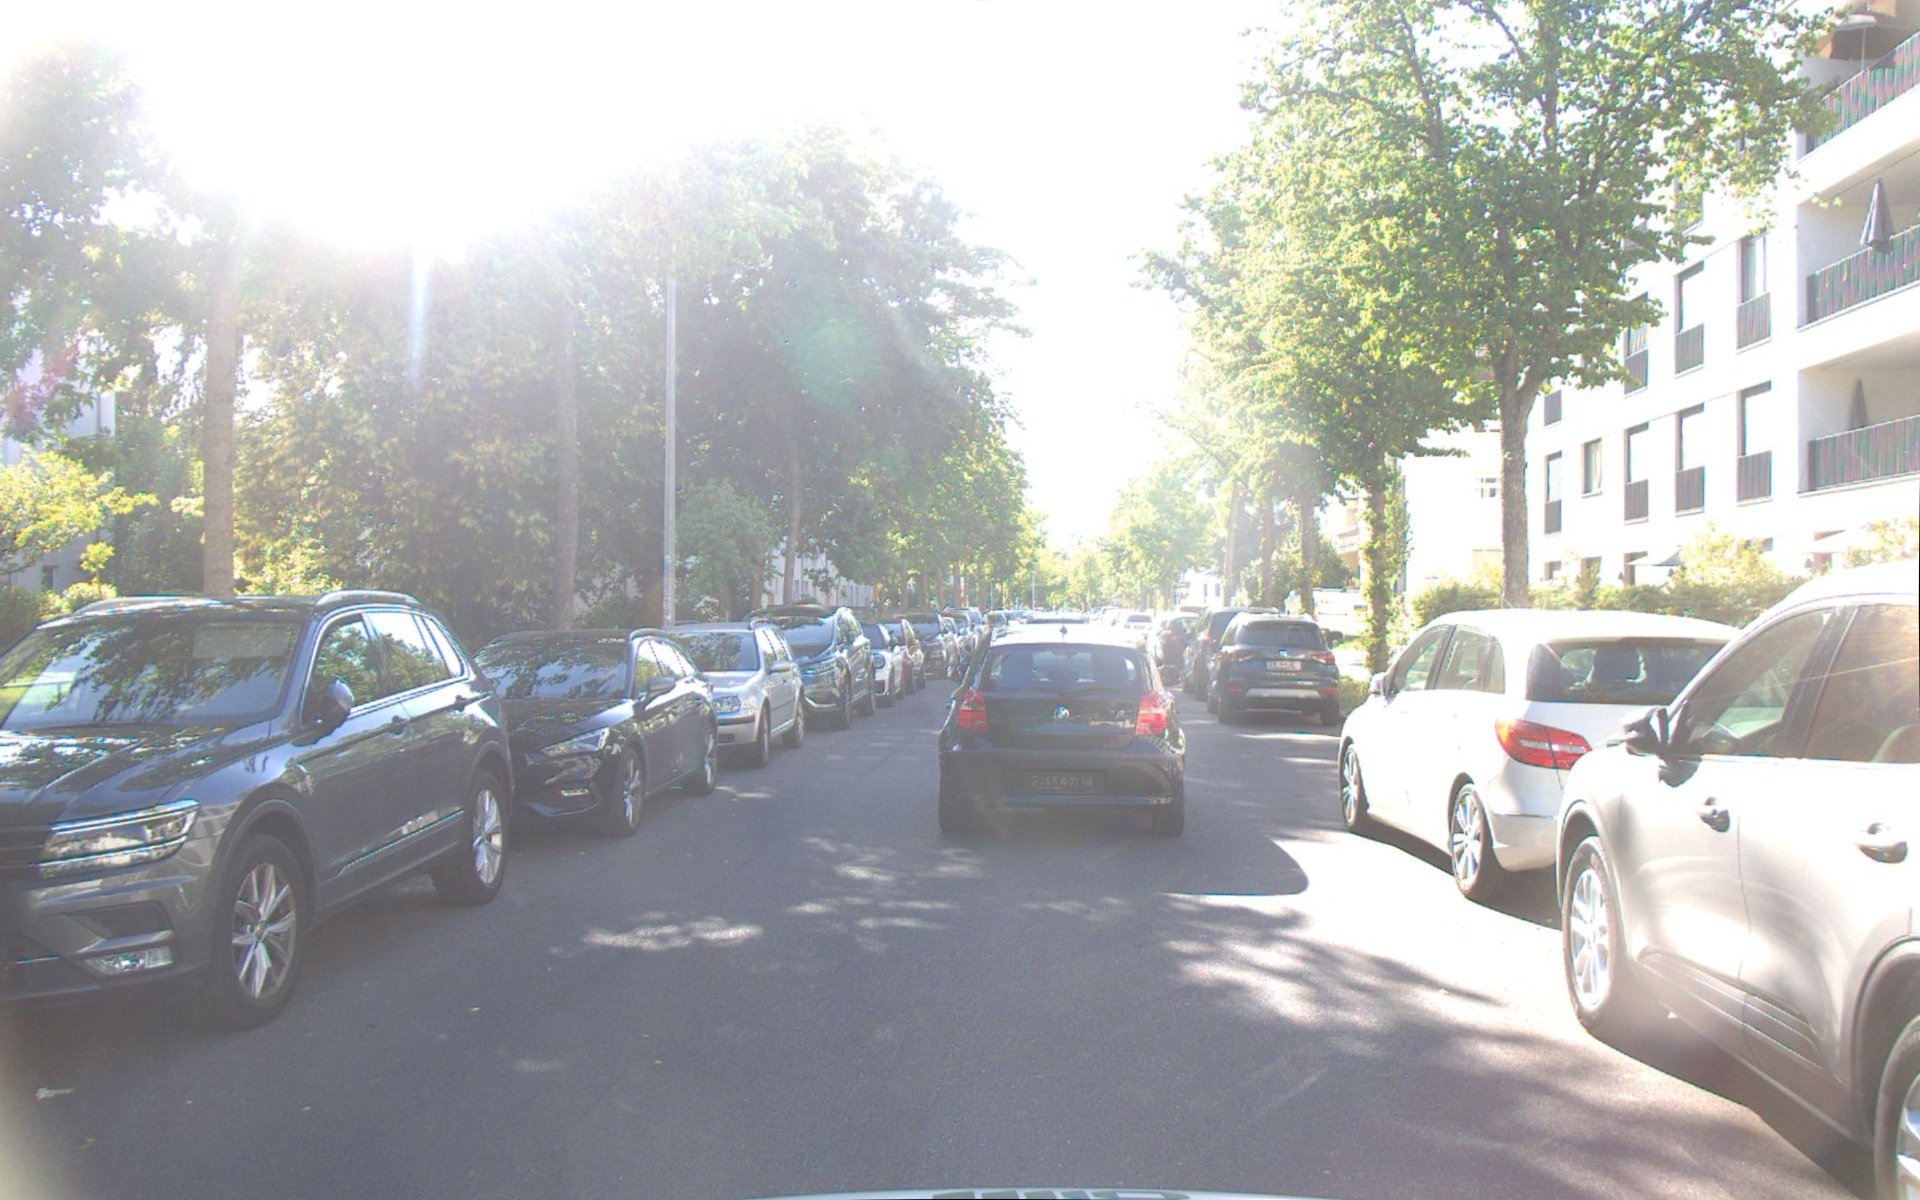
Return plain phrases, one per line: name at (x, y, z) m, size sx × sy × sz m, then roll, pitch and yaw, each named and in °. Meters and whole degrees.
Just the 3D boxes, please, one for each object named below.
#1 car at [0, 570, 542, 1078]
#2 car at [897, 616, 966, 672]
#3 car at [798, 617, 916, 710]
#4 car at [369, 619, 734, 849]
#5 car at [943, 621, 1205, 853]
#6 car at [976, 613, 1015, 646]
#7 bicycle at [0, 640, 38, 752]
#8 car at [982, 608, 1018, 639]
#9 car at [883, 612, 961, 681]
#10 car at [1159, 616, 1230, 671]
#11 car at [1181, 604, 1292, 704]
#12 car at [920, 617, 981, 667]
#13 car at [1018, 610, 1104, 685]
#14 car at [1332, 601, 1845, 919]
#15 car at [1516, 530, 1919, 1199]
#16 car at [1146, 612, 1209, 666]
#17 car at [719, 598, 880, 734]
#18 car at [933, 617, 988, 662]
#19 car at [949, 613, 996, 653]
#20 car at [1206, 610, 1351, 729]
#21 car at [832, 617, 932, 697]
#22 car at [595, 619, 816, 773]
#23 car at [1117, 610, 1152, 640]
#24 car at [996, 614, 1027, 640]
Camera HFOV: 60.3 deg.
car at (-3.295, 0.757, 7.501) m, size 1.579 × 1.639 × 4.230 m, roll -1°, pitch -1°, yaw 2°
car at (-0.734, 1.182, 45.431) m, size 1.578 × 1.416 × 3.867 m, roll -1°, pitch -1°, yaw 3°
car at (-1.745, 1.054, 29.001) m, size 1.578 × 1.478 × 3.867 m, roll -1°, pitch -1°, yaw 3°
car at (-2.941, 0.895, 12.799) m, size 1.578 × 1.452 × 4.059 m, roll -1°, pitch -1°, yaw 3°
car at (0.706, 0.886, 12.191) m, size 1.616 × 1.421 × 3.410 m, roll -1°, pitch 0°, yaw -1°
car at (1.618, 1.290, 74.088) m, size 1.578 × 1.416 × 3.867 m, roll -1°, pitch -1°, yaw 3°
bicycle at (-9.066, 0.885, 14.661) m, size 0.582 × 1.009 × 1.929 m, roll -1°, pitch 0°, yaw 4°
car at (1.943, 1.139, 79.508) m, size 1.578 × 1.416 × 3.867 m, roll -1°, pitch -1°, yaw 3°
car at (-0.887, 1.099, 40.498) m, size 1.578 × 1.570 × 3.867 m, roll -1°, pitch -1°, yaw 3°
car at (6.428, 1.166, 45.634) m, size 1.684 × 1.403 × 3.853 m, roll 2°, pitch 0°, yaw 5°
car at (5.044, 0.948, 30.570) m, size 1.684 × 1.669 × 3.853 m, roll 2°, pitch 0°, yaw 5°
car at (-0.248, 1.236, 49.937) m, size 1.578 × 1.416 × 3.867 m, roll -1°, pitch -1°, yaw 3°
car at (2.156, 0.946, 34.372) m, size 1.614 × 1.450 × 4.004 m, roll -1°, pitch 0°, yaw 6°
car at (3.559, 0.808, 10.170) m, size 1.659 × 1.550 × 4.000 m, roll 1°, pitch -1°, yaw 0°
car at (2.967, 0.719, 4.502) m, size 1.809 × 1.659 × 4.413 m, roll 1°, pitch -1°, yaw 6°
car at (6.598, 1.153, 50.424) m, size 1.684 × 1.506 × 3.853 m, roll 2°, pitch 0°, yaw 5°
car at (-2.164, 0.868, 23.312) m, size 1.578 × 1.708 × 4.236 m, roll -1°, pitch -1°, yaw 3°
car at (0.039, 1.286, 55.204) m, size 1.578 × 1.416 × 3.867 m, roll -1°, pitch -1°, yaw 3°
car at (0.506, 1.218, 62.698) m, size 1.578 × 1.416 × 3.867 m, roll -1°, pitch -1°, yaw 3°
car at (4.638, 0.960, 24.572) m, size 1.684 × 1.555 × 4.002 m, roll 2°, pitch 0°, yaw 5°
car at (-1.530, 1.115, 33.610) m, size 1.578 × 1.478 × 3.867 m, roll -1°, pitch -1°, yaw 3°
car at (-2.633, 0.954, 17.887) m, size 1.578 × 1.452 × 3.727 m, roll -1°, pitch -1°, yaw 3°
car at (9.058, 1.284, 85.652) m, size 1.684 × 1.506 × 3.854 m, roll -1°, pitch -1°, yaw 7°
car at (2.931, 1.503, 93.731) m, size 1.578 × 1.416 × 3.867 m, roll -1°, pitch -1°, yaw 3°
